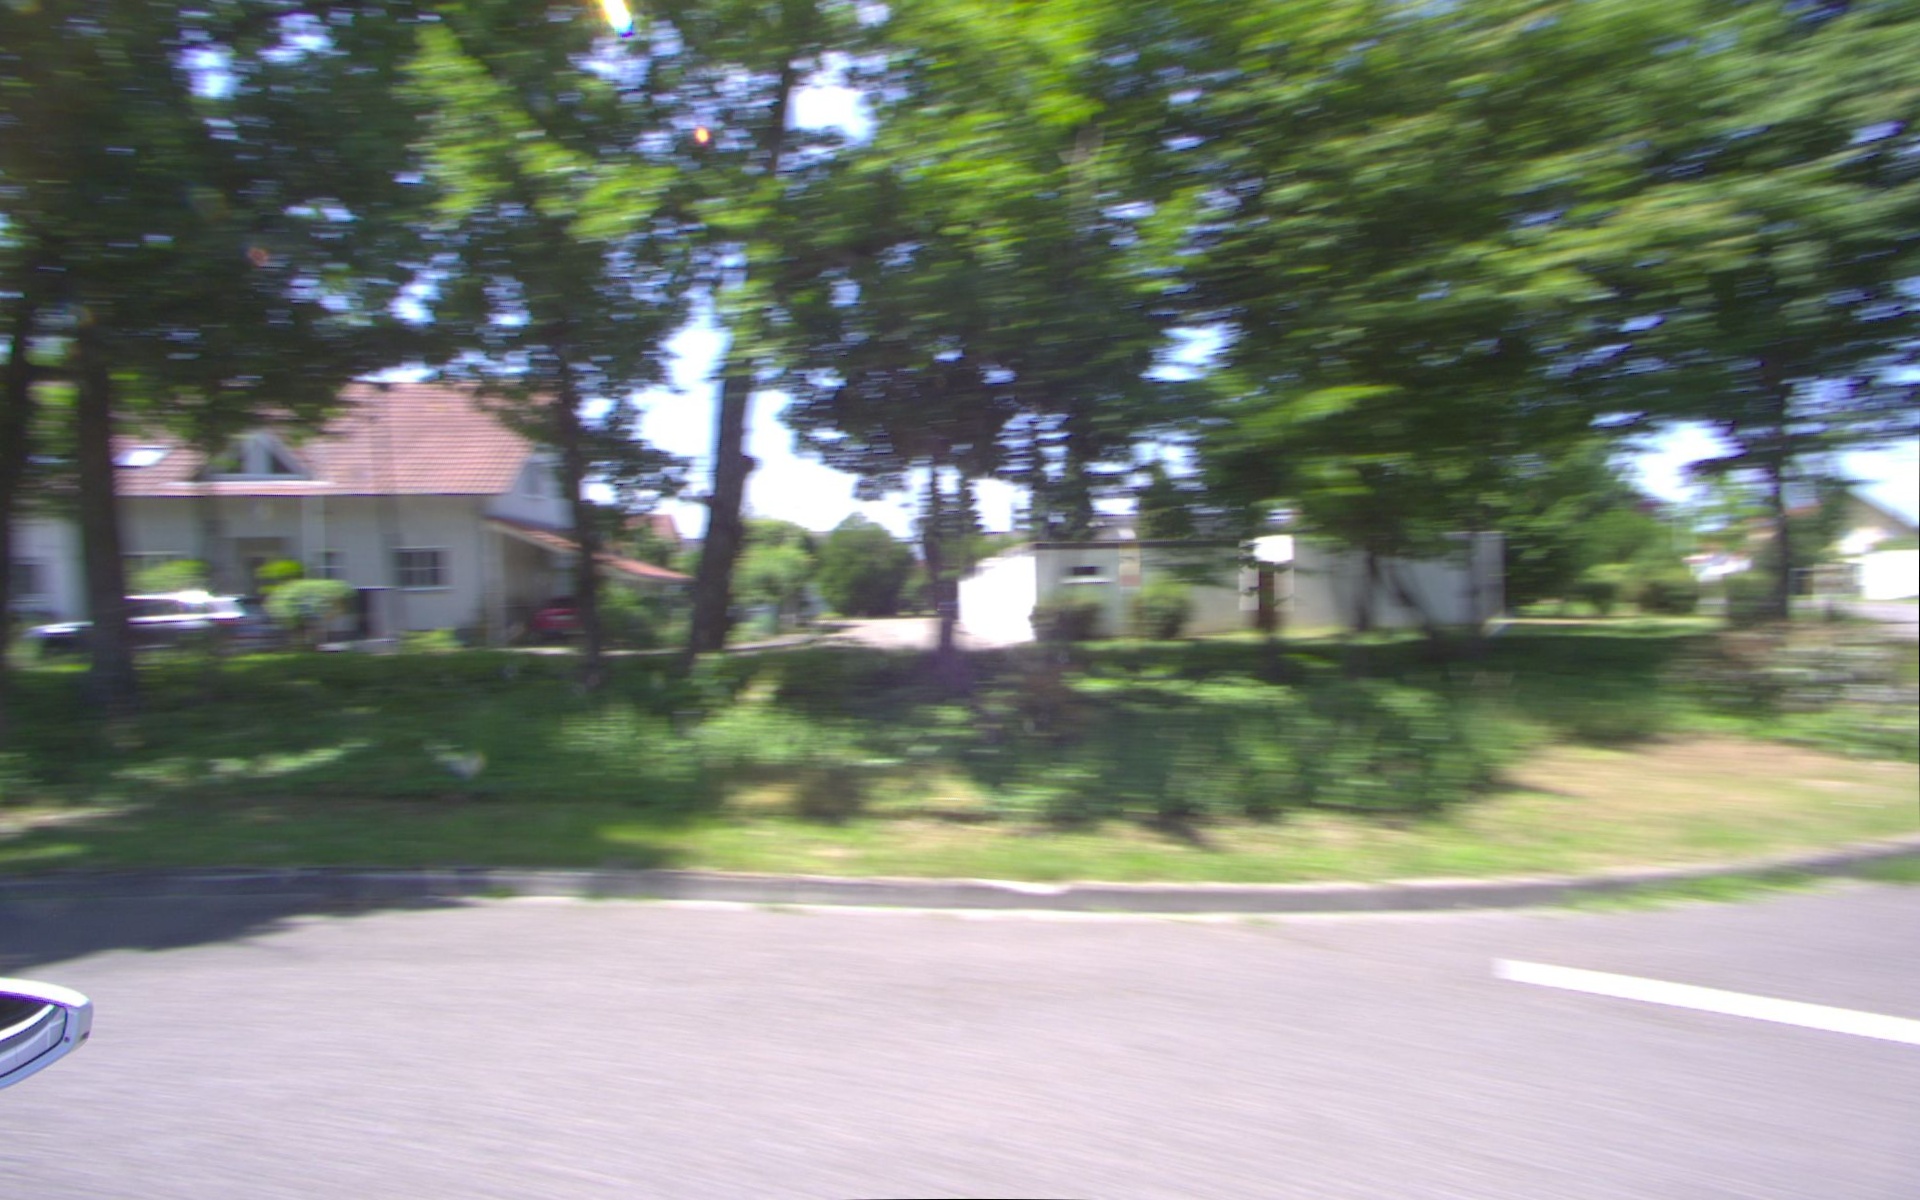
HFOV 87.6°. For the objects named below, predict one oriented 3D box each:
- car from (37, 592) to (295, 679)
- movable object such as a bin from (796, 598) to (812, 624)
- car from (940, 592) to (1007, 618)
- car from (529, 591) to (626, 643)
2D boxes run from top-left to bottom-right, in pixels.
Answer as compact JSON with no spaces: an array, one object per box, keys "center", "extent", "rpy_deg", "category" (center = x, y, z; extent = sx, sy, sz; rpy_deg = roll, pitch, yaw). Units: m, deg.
[{"center":[-17.112,0.729,21.760],"extent":[4.064,1.728,1.665],"rpy_deg":[-1,1,-7],"category":"car"},{"center":[-6.736,0.474,43.312],"extent":[0.646,1.127,0.457],"rpy_deg":[-1,2,-7],"category":"movable object such as a bin"},{"center":[0.688,0.240,51.371],"extent":[3.216,1.270,1.572],"rpy_deg":[-1,1,-7],"category":"car"},{"center":[-11.372,0.459,30.029],"extent":[1.652,1.404,3.692],"rpy_deg":[-1,1,-3],"category":"car"}]
